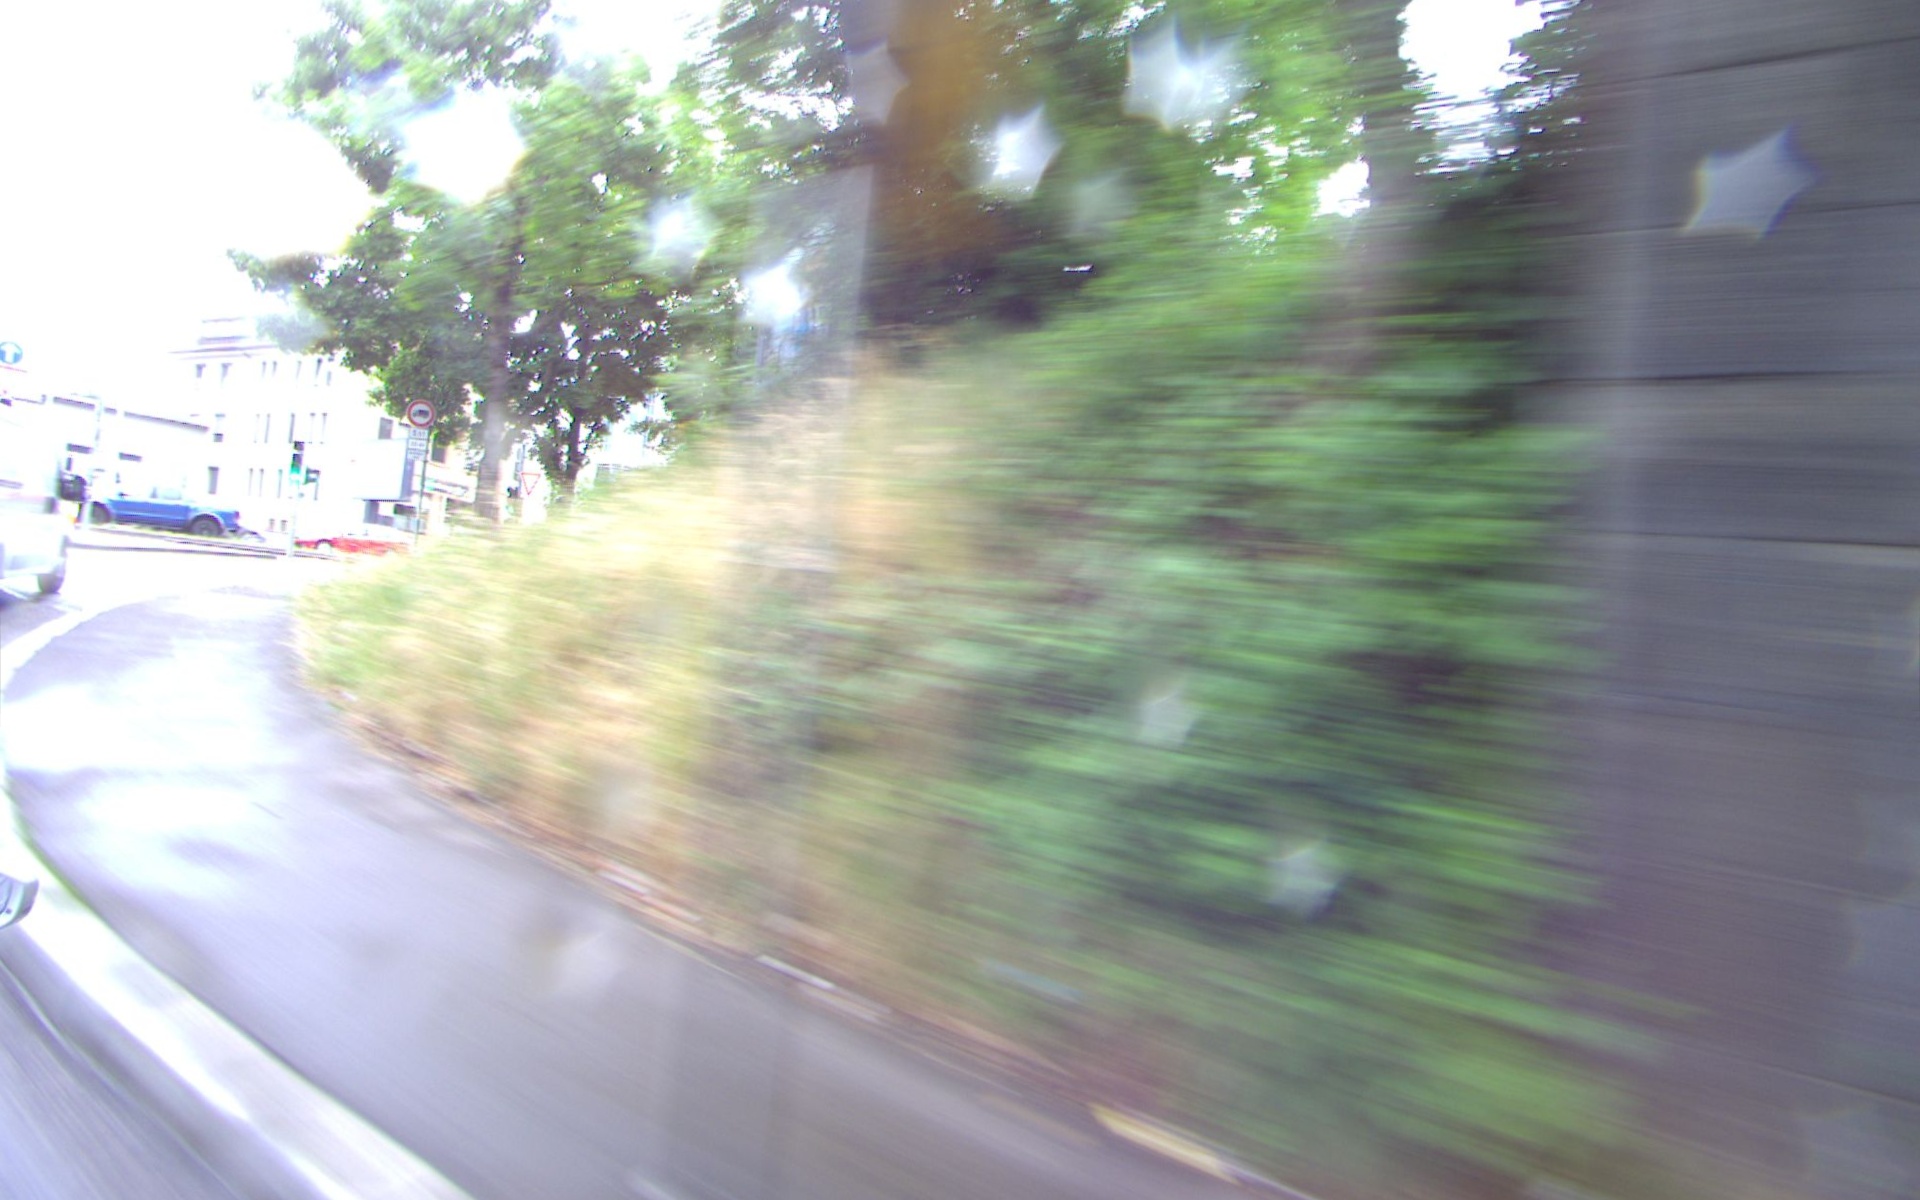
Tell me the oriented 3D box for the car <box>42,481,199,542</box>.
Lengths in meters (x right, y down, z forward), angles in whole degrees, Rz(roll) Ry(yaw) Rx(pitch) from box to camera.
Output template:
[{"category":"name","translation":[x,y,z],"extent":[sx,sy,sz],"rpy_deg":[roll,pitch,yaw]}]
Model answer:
[{"category":"car","translation":[-30.811,-3.214,37.051],"extent":[1.522,1.475,4.066],"rpy_deg":[5,-3,31]}]

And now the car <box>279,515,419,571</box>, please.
[{"category":"car","translation":[-24.676,-2.278,40.808],"extent":[1.782,1.548,4.437],"rpy_deg":[5,-3,31]}]

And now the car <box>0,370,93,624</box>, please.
[{"category":"car","translation":[-11.398,-1.264,11.005],"extent":[2.039,2.547,4.896],"rpy_deg":[9,0,-34]}]

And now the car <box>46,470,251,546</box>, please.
[{"category":"car","translation":[-28.295,-3.157,35.288],"extent":[1.908,1.840,5.160],"rpy_deg":[5,-2,32]}]

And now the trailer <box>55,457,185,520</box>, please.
[{"category":"trailer","translation":[-40.279,-5.368,48.179],"extent":[7.002,2.455,2.393],"rpy_deg":[5,-3,31]}]
